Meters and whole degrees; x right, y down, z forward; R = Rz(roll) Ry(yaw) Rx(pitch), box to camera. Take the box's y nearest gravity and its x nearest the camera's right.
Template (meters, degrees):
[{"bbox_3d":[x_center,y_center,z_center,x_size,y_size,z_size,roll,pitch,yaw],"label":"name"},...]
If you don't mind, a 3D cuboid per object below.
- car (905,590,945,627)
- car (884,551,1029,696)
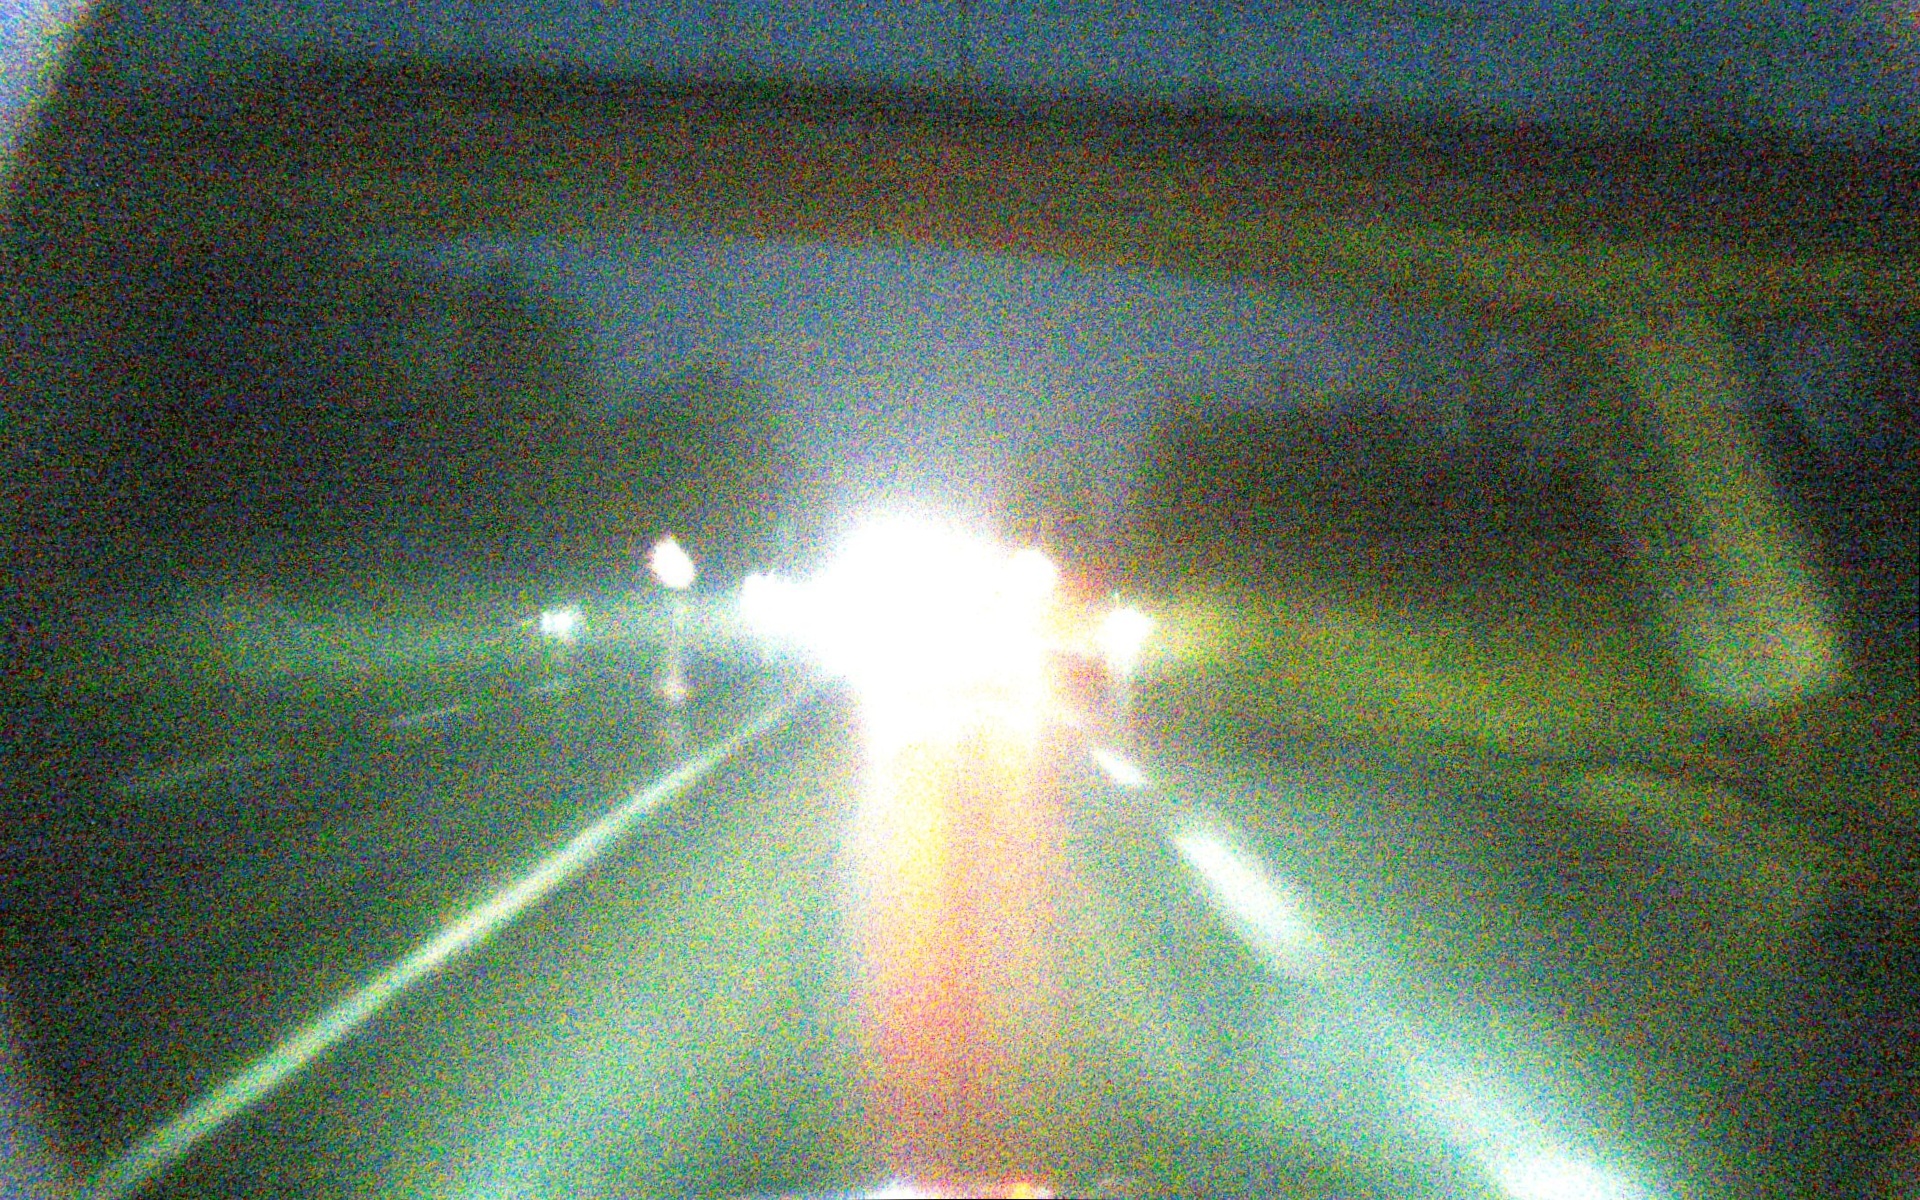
[{"bbox_3d":[-1.594,0.366,75.402,1.772,1.650,3.999,1,0,-2],"label":"car"},{"bbox_3d":[-0.068,0.332,25.905,2.050,2.049,3.999,1,0,-1],"label":"car"}]
